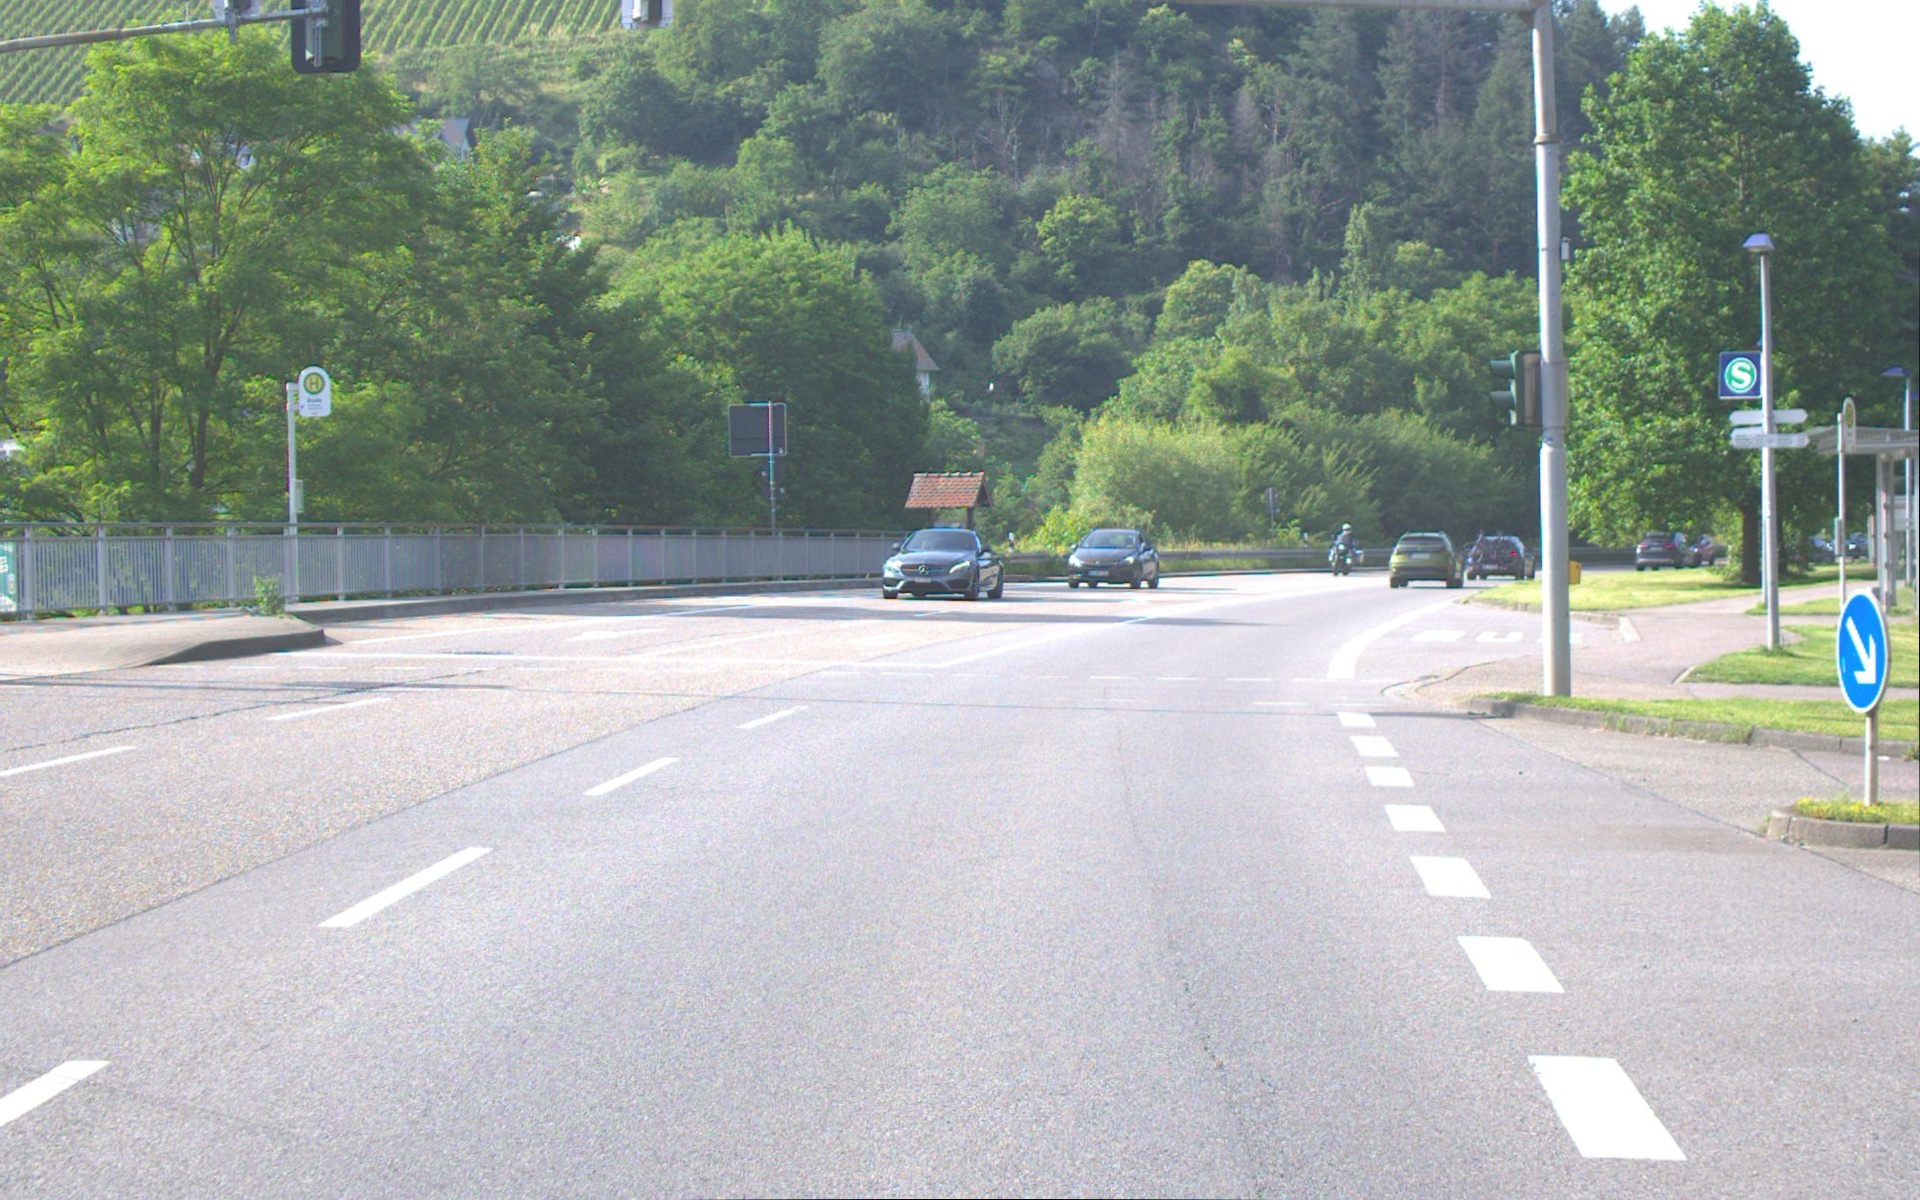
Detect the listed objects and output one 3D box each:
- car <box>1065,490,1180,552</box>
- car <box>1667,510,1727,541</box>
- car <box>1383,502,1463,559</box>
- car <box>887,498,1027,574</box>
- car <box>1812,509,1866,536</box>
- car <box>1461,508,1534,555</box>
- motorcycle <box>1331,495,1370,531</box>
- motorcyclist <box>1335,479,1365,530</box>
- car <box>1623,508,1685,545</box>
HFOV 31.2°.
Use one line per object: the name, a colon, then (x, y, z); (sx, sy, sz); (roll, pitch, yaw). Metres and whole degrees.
car: (4.081, -1.994, 85.616); (1.786, 1.473, 4.751); (1, 2, 17)
car: (35.785, -3.631, 166.804); (1.678, 1.454, 4.195); (1, 2, 29)
car: (12.531, -1.884, 92.932); (1.729, 1.452, 3.408); (-2, 1, 15)
car: (-0.019, -1.295, 67.789); (1.772, 1.372, 4.642); (2, 2, 12)
car: (50.352, -4.443, 196.832); (1.854, 1.464, 4.535); (2, 3, 30)
car: (17.497, -2.236, 111.798); (1.841, 1.454, 3.710); (-1, 1, 16)
motorcycle: (13.730, -3.078, 120.874); (0.973, 1.217, 2.570); (1, 3, 15)
motorcyclist: (13.691, -3.370, 120.762); (0.845, 1.778, 1.171); (1, 2, 16)
car: (29.245, -3.087, 144.800); (1.809, 1.448, 3.643); (-1, 1, 24)
